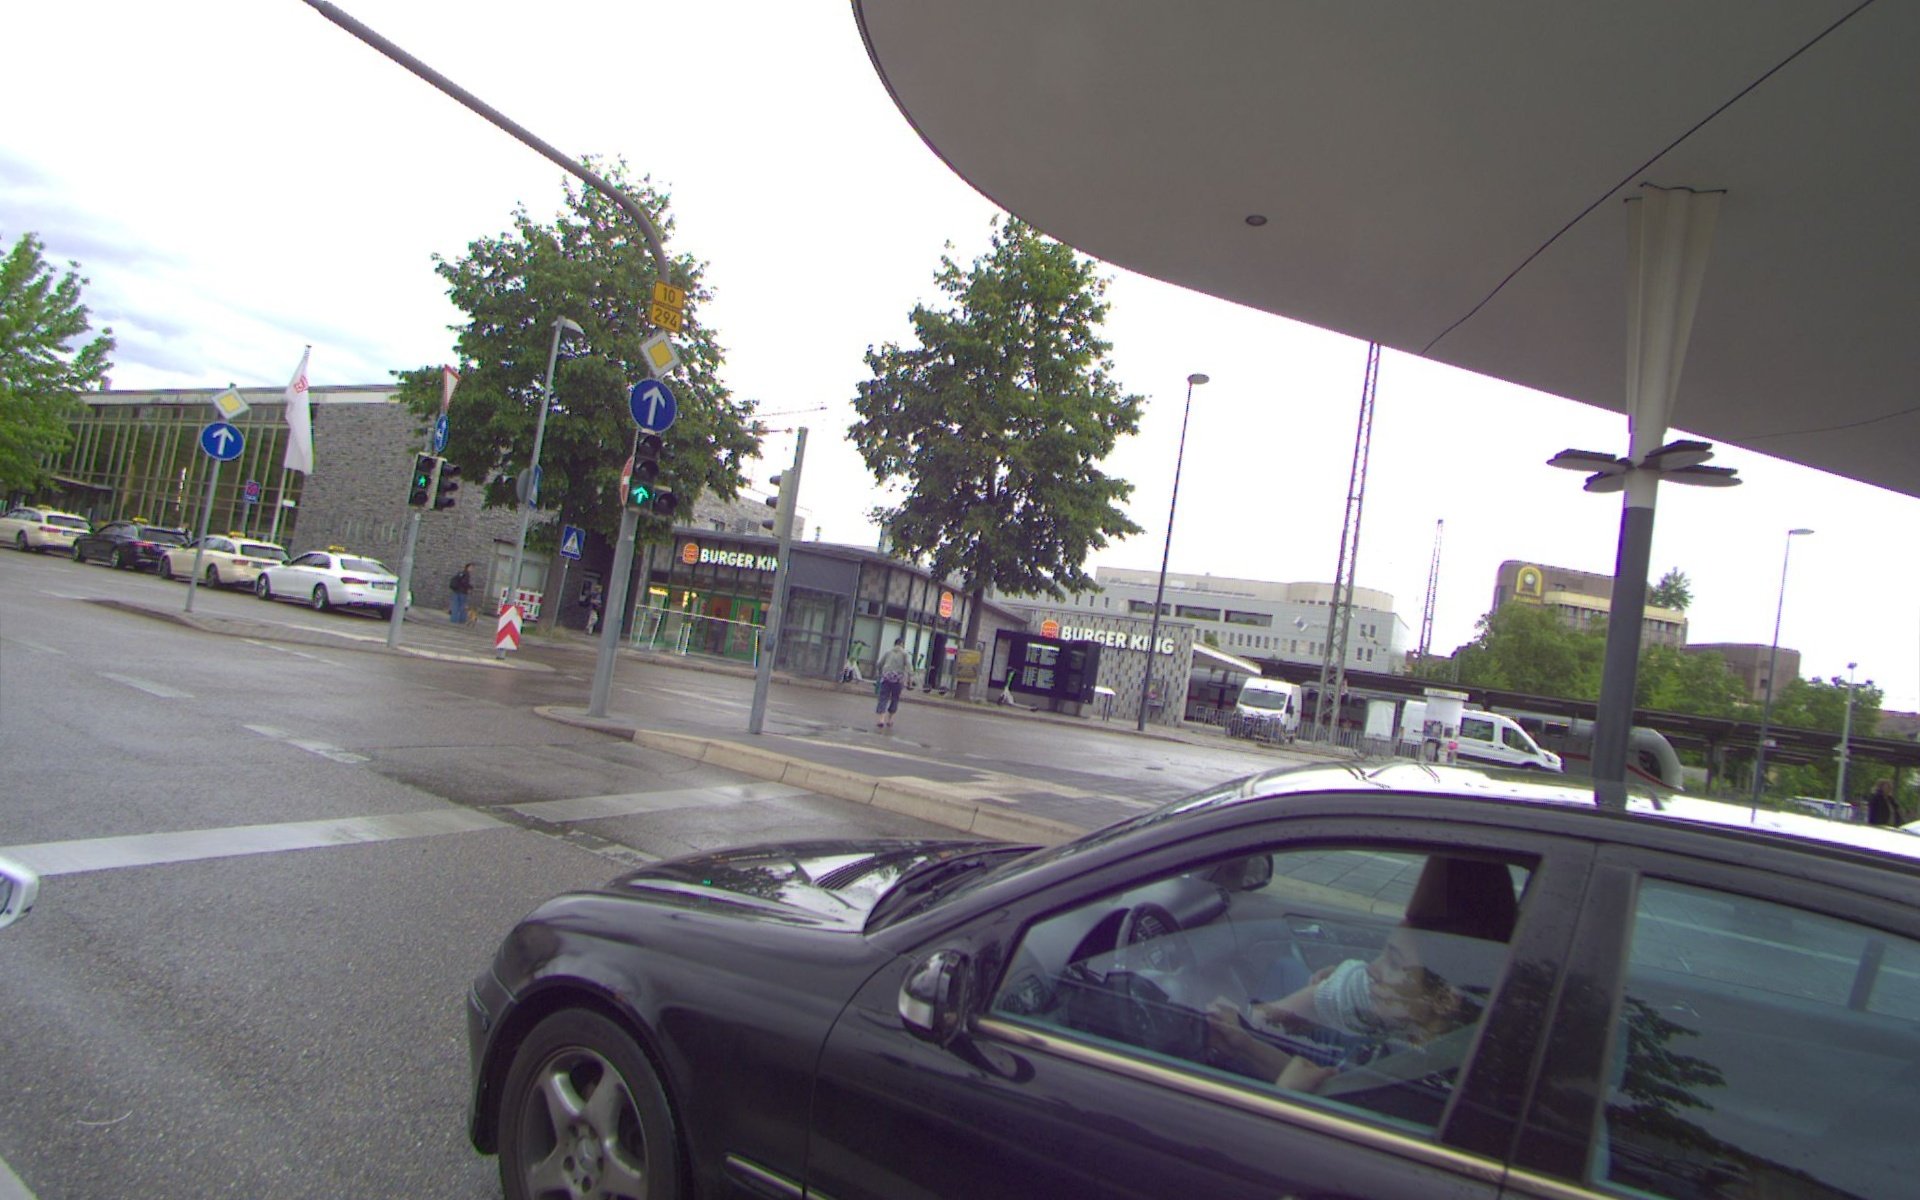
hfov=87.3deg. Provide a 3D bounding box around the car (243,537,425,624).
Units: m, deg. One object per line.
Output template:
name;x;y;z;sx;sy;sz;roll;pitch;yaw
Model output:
car;-15.977;-0.529;25.597;4.822;1.618;1.883;6;-2;32

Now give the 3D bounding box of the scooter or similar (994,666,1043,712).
scooter or similar;1.727;2.623;29.727;1.280;1.196;0.333;7;-1;-2

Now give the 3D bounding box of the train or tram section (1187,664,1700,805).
train or tram section;29.581;8.130;65.088;28.822;4.230;4.600;6;-2;32

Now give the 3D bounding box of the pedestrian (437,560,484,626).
pedestrian;-13.354;-0.176;26.914;0.785;1.645;0.721;7;-1;-13

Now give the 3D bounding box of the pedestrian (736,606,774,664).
pedestrian;-6.480;1.101;31.862;0.763;1.691;0.645;11;6;9

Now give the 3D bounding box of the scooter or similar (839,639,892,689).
scooter or similar;-2.602;1.751;27.703;1.280;1.196;0.333;7;-1;-2

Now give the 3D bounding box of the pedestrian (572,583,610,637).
pedestrian;-12.505;0.338;34.079;0.786;1.686;0.719;6;-1;42

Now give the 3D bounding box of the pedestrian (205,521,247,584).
pedestrian;-27.241;-1.743;37.356;0.710;2.189;0.797;7;-1;23

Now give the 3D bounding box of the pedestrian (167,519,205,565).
pedestrian;-29.407;-2.192;38.236;0.698;1.598;0.770;7;-1;28

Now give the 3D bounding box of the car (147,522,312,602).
car;-20.841;-1.099;28.641;4.876;1.618;1.997;7;-2;32

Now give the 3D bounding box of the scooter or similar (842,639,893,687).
scooter or similar;-2.607;1.774;28.305;1.280;1.196;0.333;7;-1;-2

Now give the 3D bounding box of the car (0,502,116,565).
car;-31.778;-2.379;34.724;4.868;1.618;2.000;7;-2;24

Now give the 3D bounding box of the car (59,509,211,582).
car;-26.077;-1.734;31.766;4.875;1.616;2.000;7;-3;31

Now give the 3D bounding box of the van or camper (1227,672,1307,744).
van or camper;12.685;4.413;41.305;2.127;2.461;5.865;7;-2;25

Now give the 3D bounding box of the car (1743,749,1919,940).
car;11.313;2.827;10.614;4.466;1.700;1.997;6;-2;32

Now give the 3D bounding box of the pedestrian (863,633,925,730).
pedestrian;-1.133;1.389;17.394;0.824;1.547;0.638;7;-1;2

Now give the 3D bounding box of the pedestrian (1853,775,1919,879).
pedestrian;15.932;3.868;17.264;0.638;1.613;0.732;8;-1;-44

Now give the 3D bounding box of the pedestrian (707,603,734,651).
pedestrian;-8.908;0.989;37.443;0.713;1.686;0.794;7;-1;-20

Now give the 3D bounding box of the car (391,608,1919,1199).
car;1.014;1.040;1.967;4.378;1.482;1.698;6;-2;32

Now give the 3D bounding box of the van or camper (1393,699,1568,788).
van or camper;20.373;5.552;39.493;5.767;2.461;1.997;6;-2;32
